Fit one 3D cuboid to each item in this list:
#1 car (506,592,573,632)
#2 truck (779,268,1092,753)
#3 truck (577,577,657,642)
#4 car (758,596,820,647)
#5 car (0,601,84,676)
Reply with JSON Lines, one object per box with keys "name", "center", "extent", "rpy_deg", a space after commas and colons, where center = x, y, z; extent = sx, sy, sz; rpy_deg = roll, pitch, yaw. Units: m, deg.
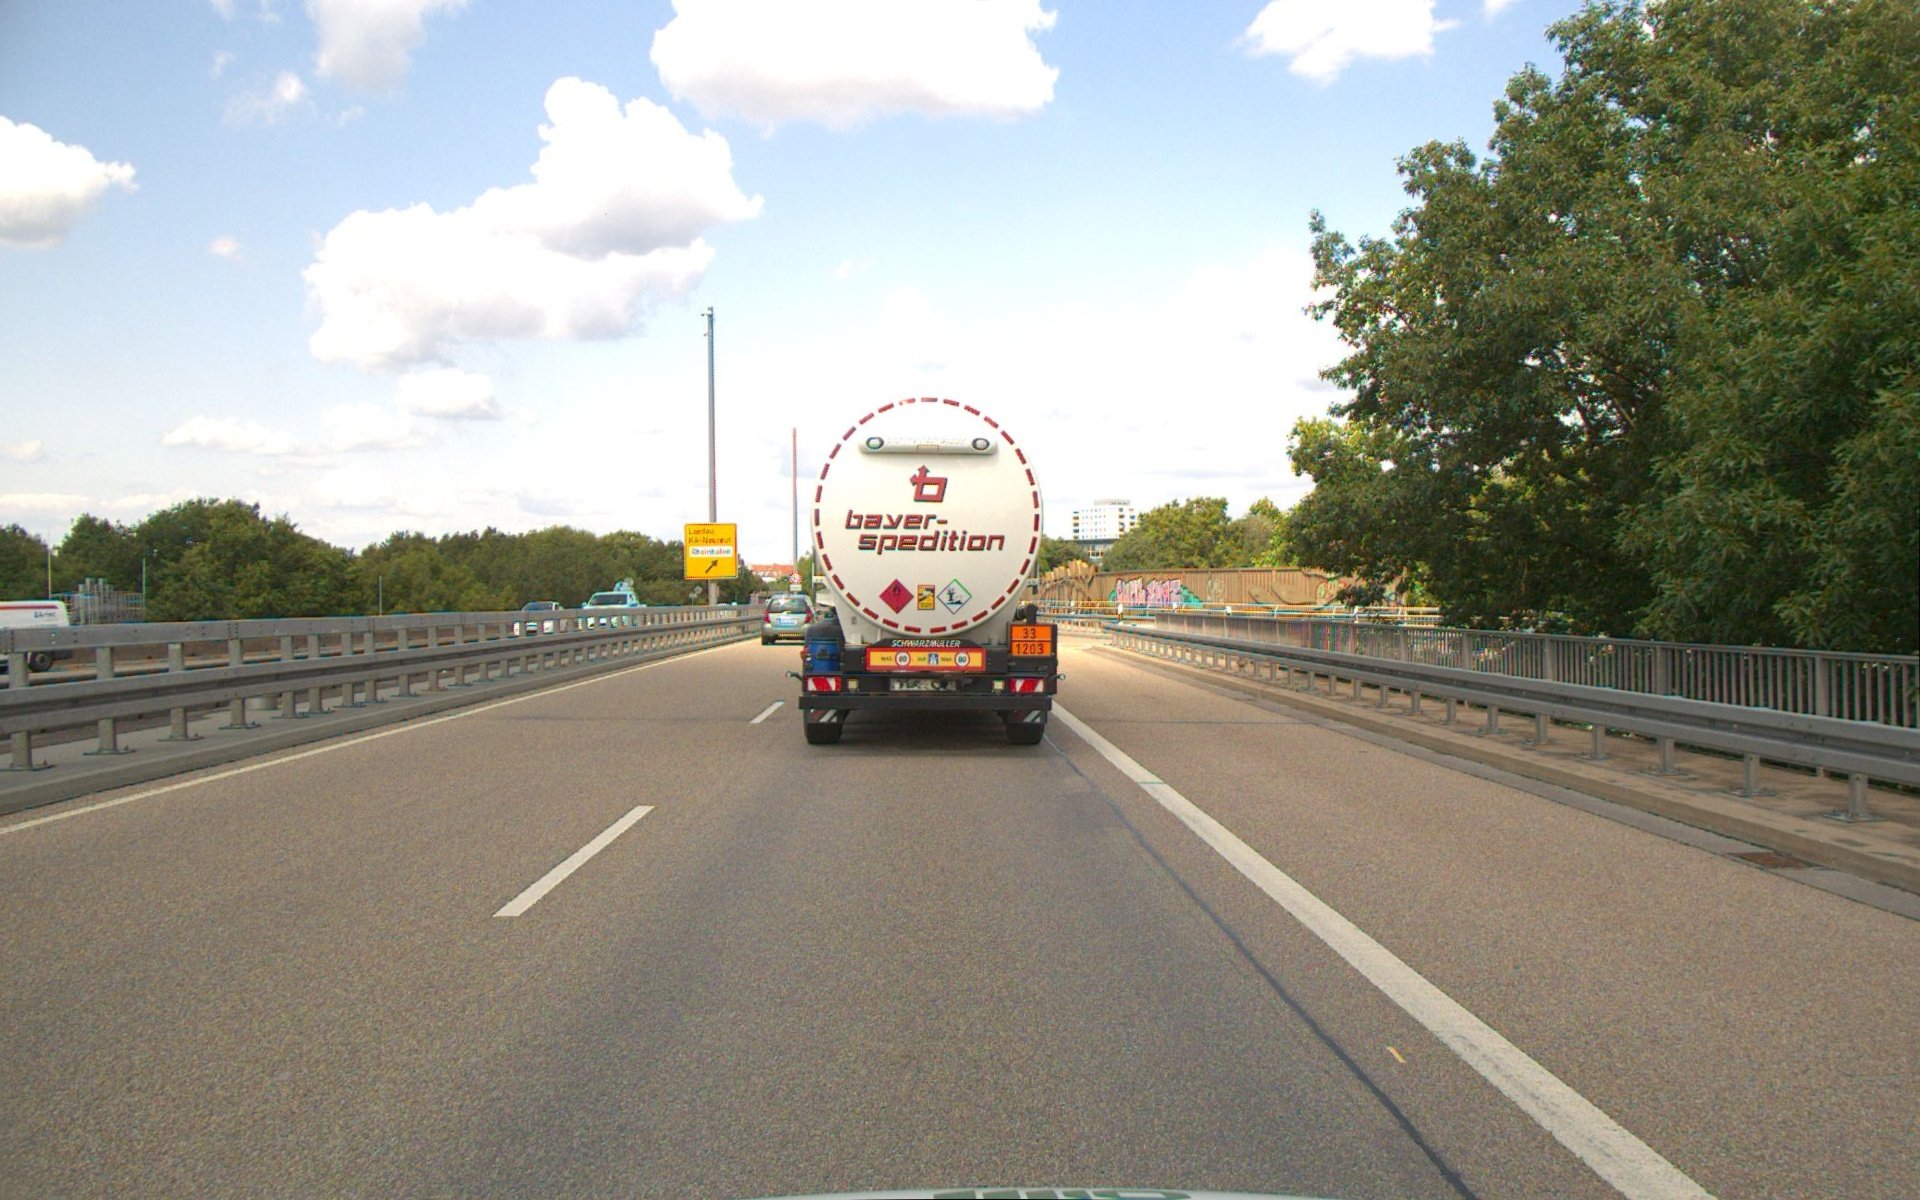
{"name": "car", "center": [-17.627, 0.480, 69.530], "extent": [1.792, 1.609, 3.953], "rpy_deg": [1, 0, 0]}
{"name": "truck", "center": [-0.385, -0.819, 19.341], "extent": [2.837, 4.445, 8.025], "rpy_deg": [1, 0, -2]}
{"name": "truck", "center": [-12.505, 0.335, 60.541], "extent": [1.834, 2.225, 5.187], "rpy_deg": [1, 0, 0]}
{"name": "car", "center": [-5.511, 0.666, 53.699], "extent": [1.712, 1.558, 3.998], "rpy_deg": [0, 0, -2]}
{"name": "car", "center": [-25.776, 0.991, 43.108], "extent": [1.952, 1.931, 5.168], "rpy_deg": [1, 0, 21]}
